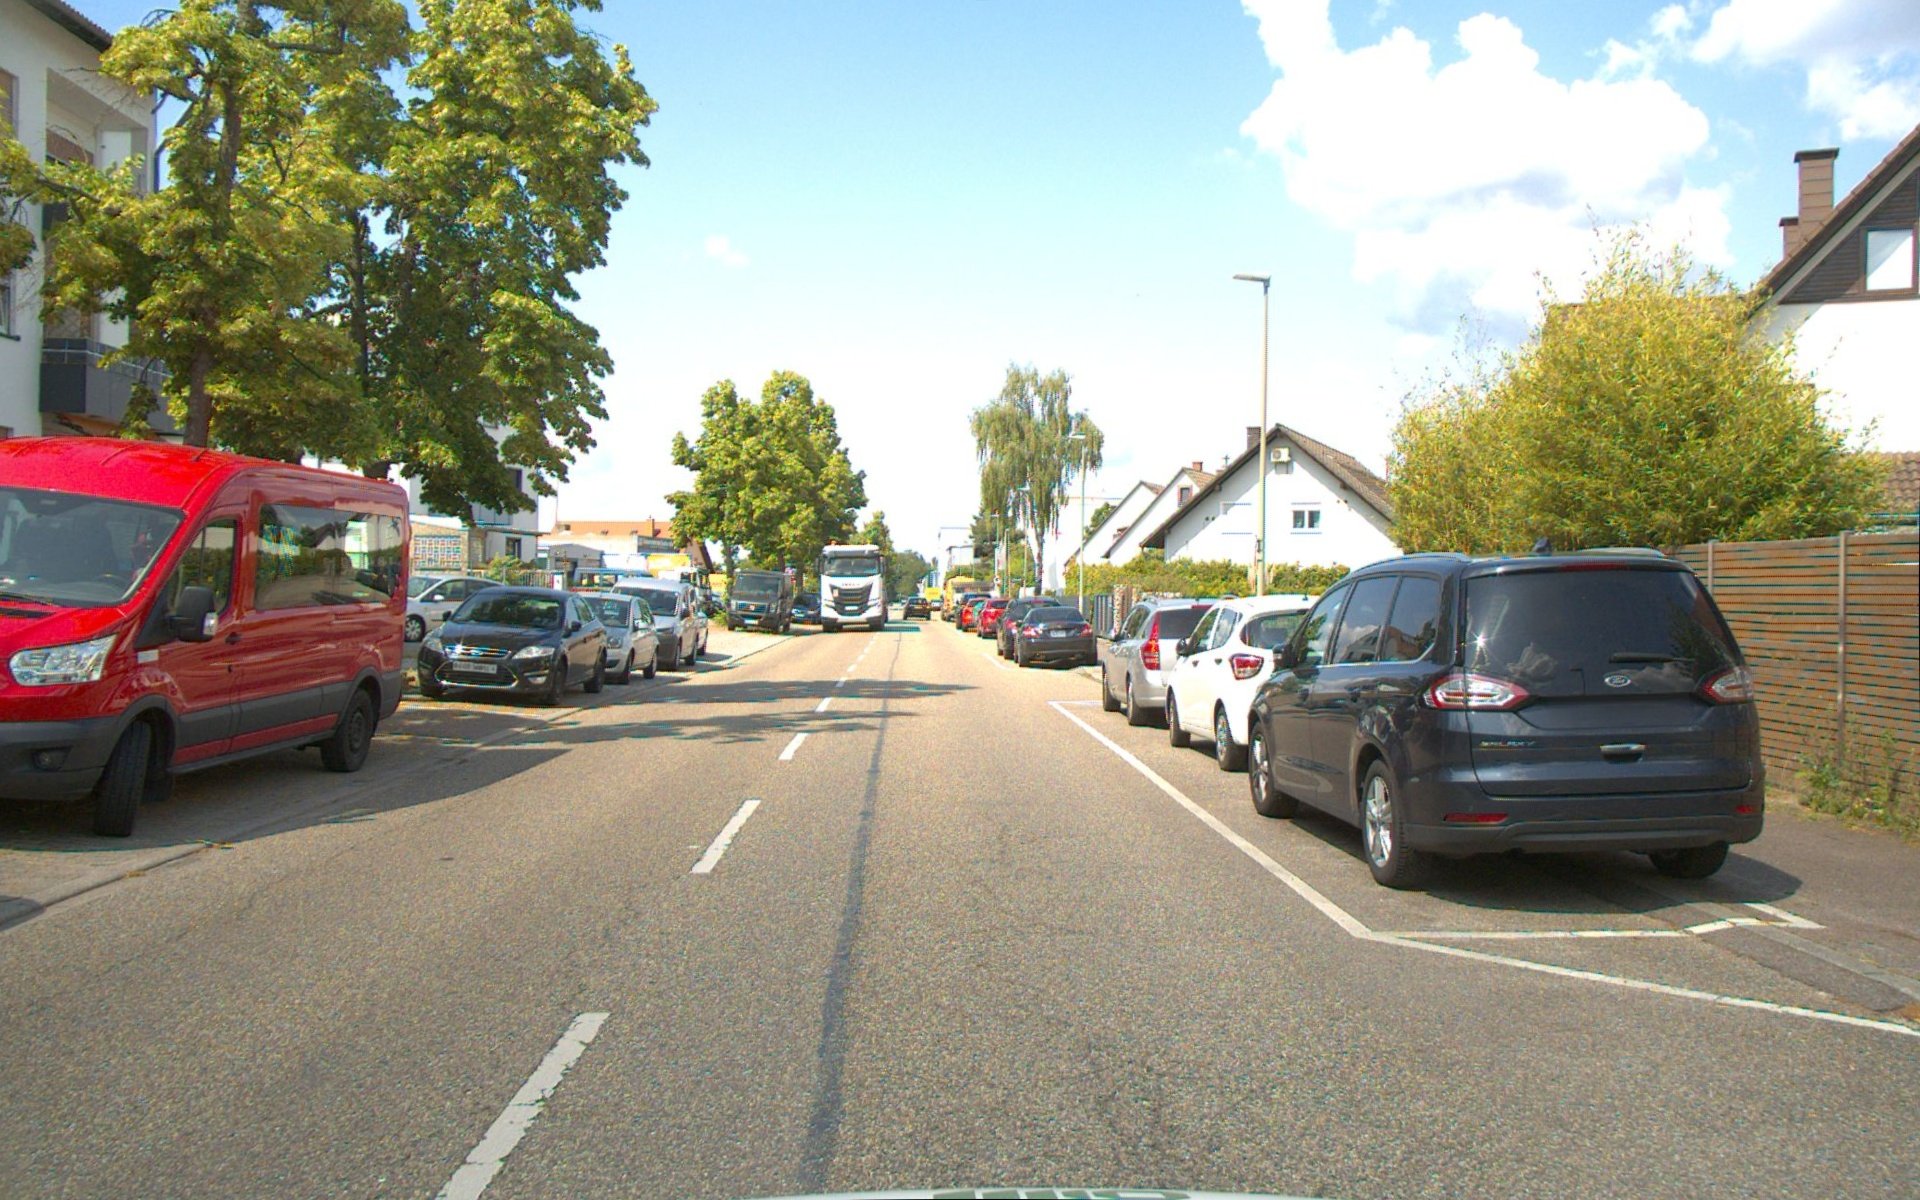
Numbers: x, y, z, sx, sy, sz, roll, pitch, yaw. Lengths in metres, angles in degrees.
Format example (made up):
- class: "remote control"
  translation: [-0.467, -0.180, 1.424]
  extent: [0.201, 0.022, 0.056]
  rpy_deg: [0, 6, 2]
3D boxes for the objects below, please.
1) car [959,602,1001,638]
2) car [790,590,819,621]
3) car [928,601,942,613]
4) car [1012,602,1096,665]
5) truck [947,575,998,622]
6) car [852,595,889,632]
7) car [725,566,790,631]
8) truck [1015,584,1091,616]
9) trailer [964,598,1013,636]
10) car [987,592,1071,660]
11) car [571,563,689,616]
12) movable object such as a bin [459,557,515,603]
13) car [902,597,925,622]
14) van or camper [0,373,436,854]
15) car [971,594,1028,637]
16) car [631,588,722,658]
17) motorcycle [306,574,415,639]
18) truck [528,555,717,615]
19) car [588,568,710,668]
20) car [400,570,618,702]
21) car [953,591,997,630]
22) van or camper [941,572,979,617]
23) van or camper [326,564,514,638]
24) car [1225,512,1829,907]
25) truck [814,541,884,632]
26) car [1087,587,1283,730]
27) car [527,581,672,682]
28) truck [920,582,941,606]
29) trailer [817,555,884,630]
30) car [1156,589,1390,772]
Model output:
- class: "car"
  translation: [0.814, 0.843, 71.080]
  extent: [1.650, 1.460, 4.145]
  rpy_deg: [2, 0, -1]
- class: "car"
  translation: [-8.101, 0.299, 86.202]
  extent: [1.221, 1.545, 3.365]
  rpy_deg: [1, 0, -1]
- class: "car"
  translation: [-3.188, 0.906, 208.090]
  extent: [1.618, 1.411, 4.421]
  rpy_deg: [2, 0, -2]
- class: "car"
  translation: [2.115, 0.735, 38.175]
  extent: [1.675, 1.341, 3.962]
  rpy_deg: [1, 0, 0]
- class: "truck"
  translation: [0.600, -0.049, 86.742]
  extent: [2.471, 2.340, 5.893]
  rpy_deg: [1, 0, -2]
- class: "car"
  translation: [-5.197, 0.779, 96.488]
  extent: [2.010, 2.070, 5.139]
  rpy_deg: [-1, 0, -2]
- class: "car"
  translation: [-7.677, -0.087, 63.008]
  extent: [2.126, 2.299, 3.997]
  rpy_deg: [3, 1, -4]
- class: "truck"
  translation: [7.871, 0.025, 140.184]
  extent: [5.970, 2.622, 2.543]
  rpy_deg: [1, 0, -28]
- class: "trailer"
  translation: [1.106, 0.654, 65.717]
  extent: [1.576, 1.402, 4.429]
  rpy_deg: [2, 0, -3]
- class: "car"
  translation: [1.727, 0.643, 42.782]
  extent: [1.709, 1.578, 4.119]
  rpy_deg: [3, 0, -3]
- class: "car"
  translation: [-15.307, -0.484, 76.744]
  extent: [4.894, 2.271, 2.001]
  rpy_deg: [1, -2, 11]
- class: "movable object such as a bin"
  translation: [-17.000, -0.734, 59.501]
  extent: [1.281, 1.456, 1.605]
  rpy_deg: [1, 6, 14]
- class: "car"
  translation: [-2.979, 0.611, 106.893]
  extent: [1.398, 1.545, 3.016]
  rpy_deg: [1, 0, -1]
- class: "van or camper"
  translation: [-5.930, -0.002, 12.114]
  extent: [2.105, 2.593, 6.222]
  rpy_deg: [4, 0, -1]
- class: "car"
  translation: [1.420, 0.551, 61.023]
  extent: [1.658, 1.488, 4.752]
  rpy_deg: [2, 0, -4]
- class: "car"
  translation: [-7.060, 0.532, 41.552]
  extent: [1.715, 1.486, 4.705]
  rpy_deg: [5, 1, -4]
- class: "motorcycle"
  translation: [-13.027, 0.141, 36.004]
  extent: [2.051, 1.271, 0.677]
  rpy_deg: [3, -1, -2]
- class: "truck"
  translation: [-17.220, -0.743, 84.762]
  extent: [9.065, 2.906, 2.721]
  rpy_deg: [1, 0, 2]
- class: "car"
  translation: [-6.462, 0.362, 34.806]
  extent: [1.774, 1.837, 4.489]
  rpy_deg: [4, 0, -3]
- class: "car"
  translation: [-6.112, 0.465, 22.964]
  extent: [1.773, 1.519, 4.595]
  rpy_deg: [4, 0, -1]
- class: "car"
  translation: [0.663, 0.479, 76.011]
  extent: [1.793, 1.691, 4.552]
  rpy_deg: [1, 0, -2]
- class: "van or camper"
  translation: [-0.048, -0.315, 103.912]
  extent: [1.954, 2.711, 5.765]
  rpy_deg: [1, 0, -4]
- class: "van or camper"
  translation: [-12.740, 0.056, 39.232]
  extent: [1.744, 1.570, 3.988]
  rpy_deg: [3, -1, 33]
- class: "car"
  translation: [3.025, 0.518, 10.055]
  extent: [1.853, 1.804, 4.706]
  rpy_deg: [-1, 0, -3]
- class: "truck"
  translation: [-4.567, -0.541, 68.695]
  extent: [2.717, 3.560, 5.878]
  rpy_deg: [1, 0, -3]
- class: "car"
  translation: [2.725, 0.667, 20.944]
  extent: [1.710, 1.579, 4.290]
  rpy_deg: [2, 0, -2]
- class: "car"
  translation: [-6.198, 0.536, 28.835]
  extent: [1.590, 1.494, 3.924]
  rpy_deg: [5, -1, -1]
- class: "truck"
  translation: [-3.946, -0.748, 219.691]
  extent: [2.425, 2.991, 7.183]
  rpy_deg: [2, -1, -3]
- class: "trailer"
  translation: [-4.922, -0.296, 73.958]
  extent: [2.778, 3.123, 8.882]
  rpy_deg: [1, 0, -4]
- class: "car"
  translation: [2.883, 0.676, 15.892]
  extent: [1.413, 1.531, 3.669]
  rpy_deg: [1, 0, -2]
